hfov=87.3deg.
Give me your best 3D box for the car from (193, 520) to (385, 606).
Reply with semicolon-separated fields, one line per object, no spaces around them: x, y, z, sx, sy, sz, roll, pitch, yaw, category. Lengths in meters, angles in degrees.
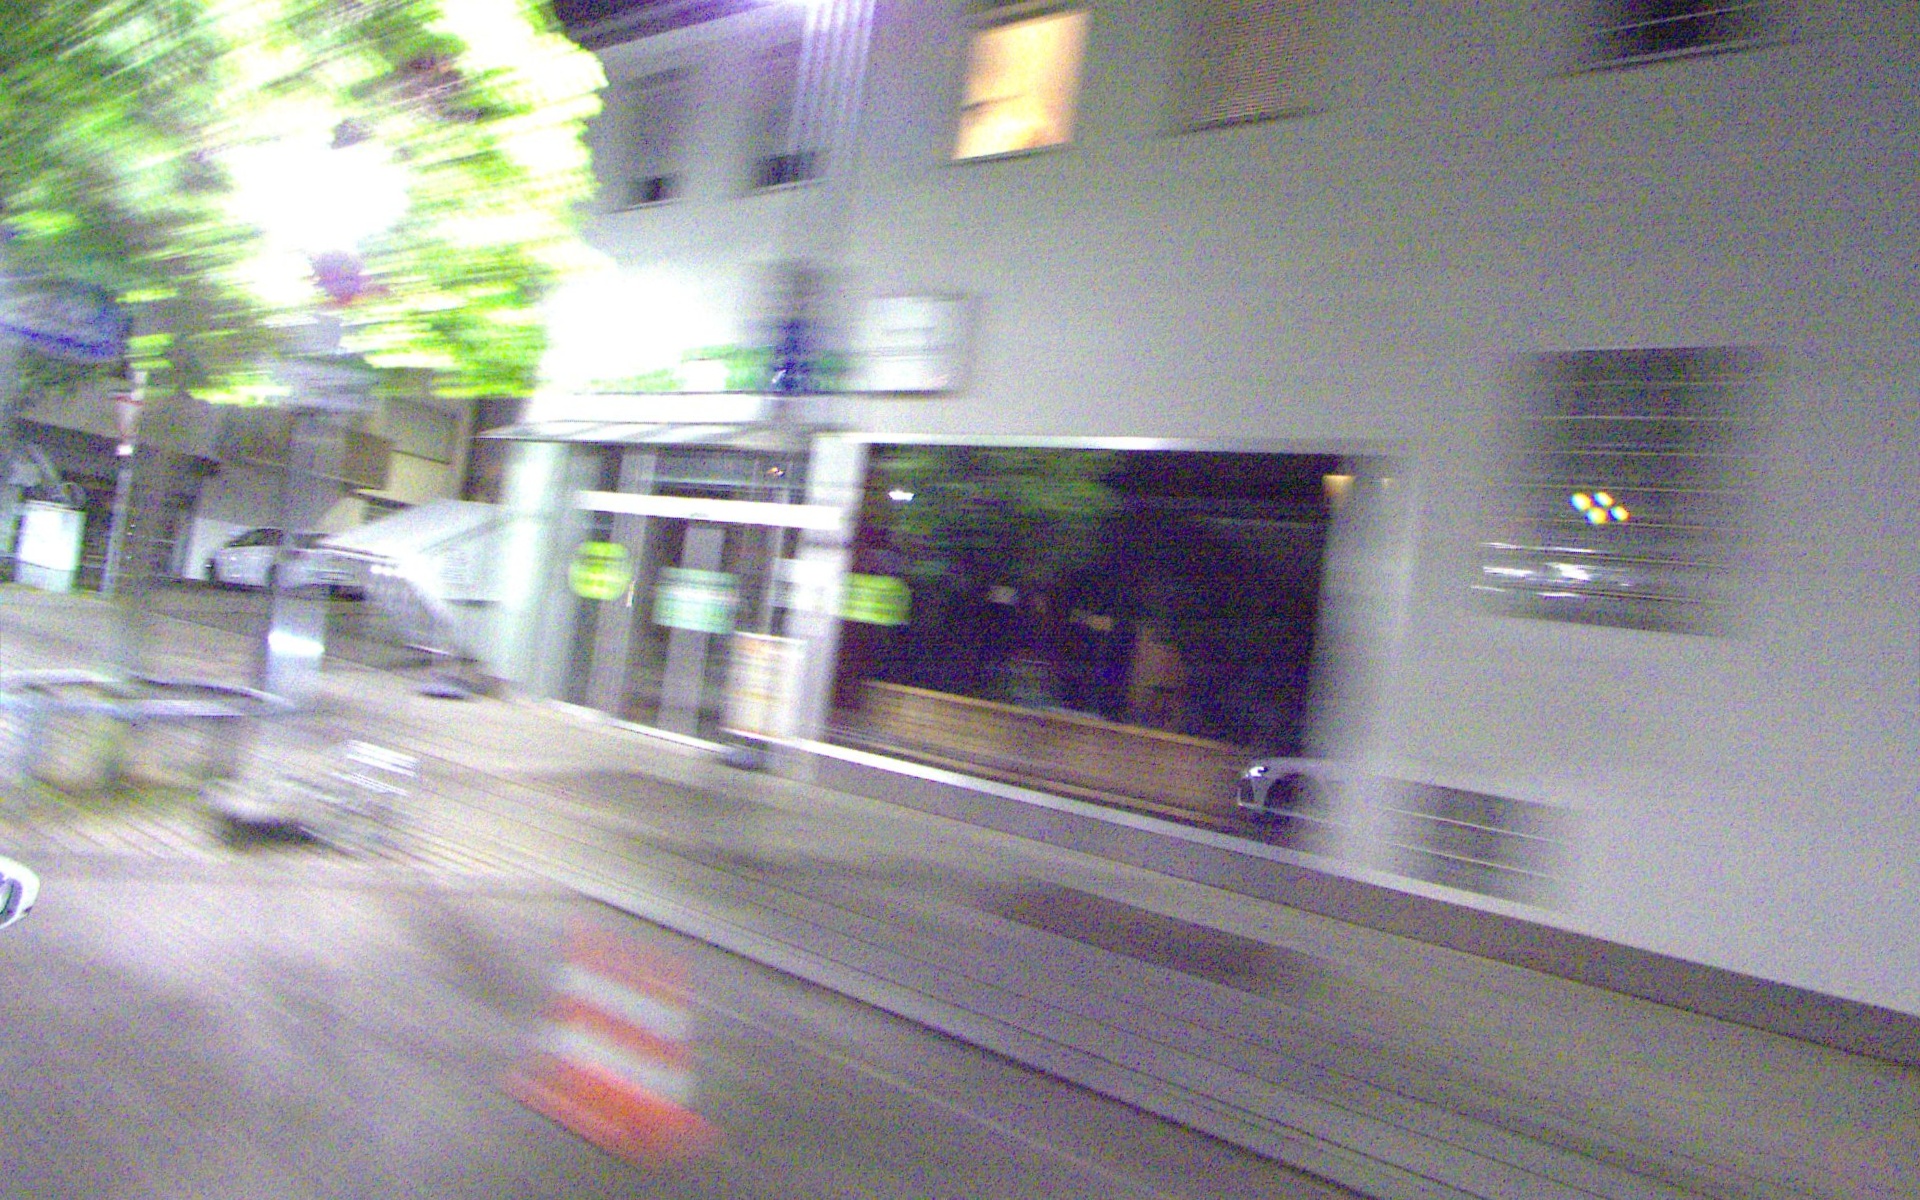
-14.308;-0.797;21.410;3.989;1.479;1.806;5;1;31;car
